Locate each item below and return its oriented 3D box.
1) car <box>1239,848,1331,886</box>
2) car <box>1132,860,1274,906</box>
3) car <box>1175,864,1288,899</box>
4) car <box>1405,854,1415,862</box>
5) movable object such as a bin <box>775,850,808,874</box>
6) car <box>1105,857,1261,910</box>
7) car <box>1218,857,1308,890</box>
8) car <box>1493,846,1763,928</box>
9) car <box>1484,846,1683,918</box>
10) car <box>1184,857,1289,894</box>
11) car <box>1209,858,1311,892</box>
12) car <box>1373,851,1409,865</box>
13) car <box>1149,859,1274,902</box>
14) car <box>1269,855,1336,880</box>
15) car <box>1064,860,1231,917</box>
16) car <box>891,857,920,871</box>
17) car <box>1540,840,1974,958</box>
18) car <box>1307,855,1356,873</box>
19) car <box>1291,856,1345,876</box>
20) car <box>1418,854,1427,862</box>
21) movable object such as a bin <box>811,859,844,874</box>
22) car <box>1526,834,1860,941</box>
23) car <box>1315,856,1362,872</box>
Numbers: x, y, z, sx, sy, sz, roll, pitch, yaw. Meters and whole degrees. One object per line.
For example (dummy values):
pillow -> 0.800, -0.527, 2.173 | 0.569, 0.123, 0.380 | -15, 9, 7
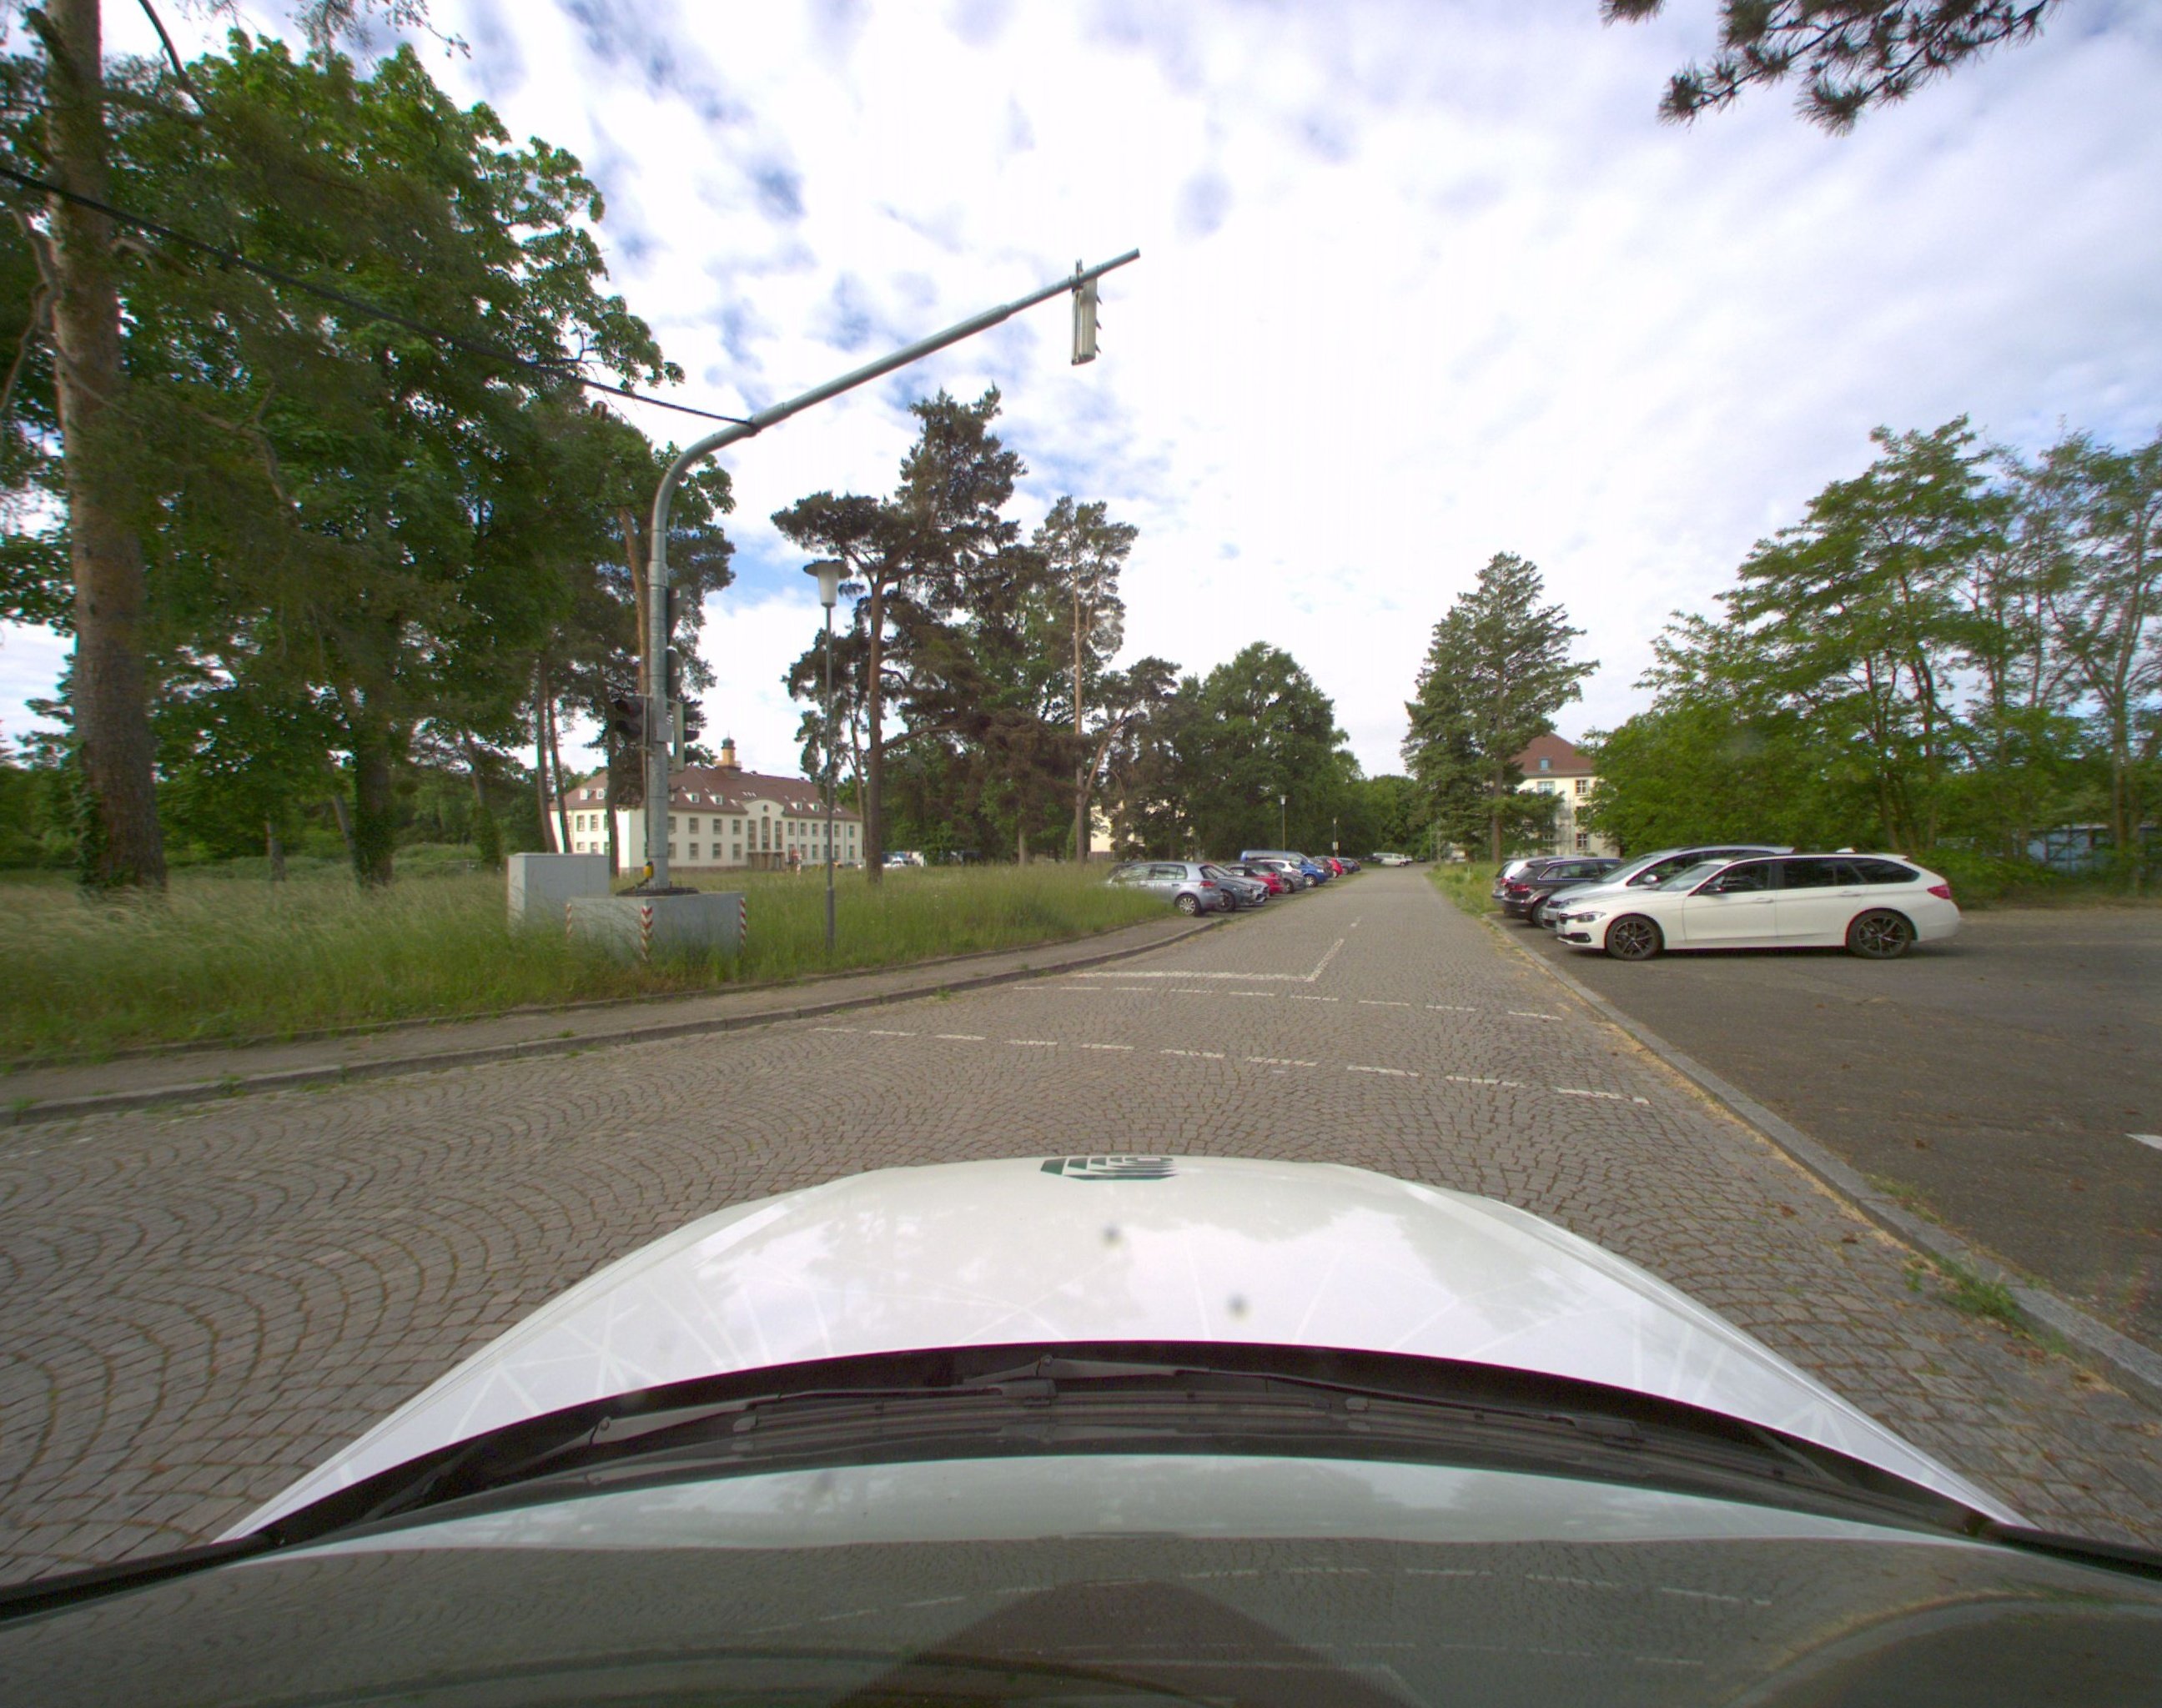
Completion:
car -> 11.215, 0.688, 44.718 | 4.669, 1.980, 2.049 | 0, 0, 21
car -> 4.137, 0.939, 27.601 | 4.398, 1.455, 1.960 | 0, -1, 22
car -> 5.919, 1.042, 31.969 | 4.095, 1.283, 1.773 | 0, 0, 22
car -> 73.279, 0.942, 181.391 | 1.775, 1.636, 4.081 | -1, -2, 21
movable object such as a bin -> -45.683, 1.291, 128.420 | 6.056, 3.642, 2.155 | -2, -3, 39
car -> 3.160, 0.872, 25.085 | 4.464, 1.537, 1.879 | 0, -1, 19
car -> 8.919, 0.928, 39.897 | 3.969, 1.501, 1.853 | 0, 0, 23
car -> 11.191, 0.685, 17.051 | 4.329, 1.406, 1.806 | -4, -1, 20
car -> 11.957, 0.660, 19.670 | 3.741, 1.480, 1.751 | -4, -1, 19
car -> 6.604, 0.903, 34.598 | 4.052, 1.480, 1.765 | 0, 0, 23
car -> 8.159, 0.938, 37.099 | 4.266, 1.480, 1.740 | 0, 0, 23
car -> 46.007, 0.569, 120.791 | 4.936, 2.073, 2.062 | 0, -2, 21
car -> 4.787, 0.943, 29.842 | 4.217, 1.455, 1.865 | 0, 0, 22
car -> 14.435, 0.887, 53.035 | 4.033, 1.575, 1.964 | 0, 0, 21
car -> 1.853, 0.909, 22.762 | 4.291, 1.470, 1.837 | 0, -1, 23
car -> -26.007, 1.504, 120.675 | 2.044, 2.095, 4.367 | -2, -2, 22
car -> 9.541, 0.678, 12.012 | 4.512, 1.425, 1.836 | -4, -2, 19
car -> 22.245, 0.862, 72.179 | 4.037, 1.604, 1.797 | 0, 0, 20
car -> 18.240, 0.924, 62.682 | 3.783, 1.489, 1.797 | 0, 0, 21
car -> 75.815, 0.863, 180.725 | 1.775, 1.720, 4.081 | -1, -2, 21
movable object such as a bin -> -39.728, 1.923, 127.636 | 4.465, 2.254, 2.394 | -1, -2, 27
car -> 10.518, 0.602, 14.412 | 4.295, 1.575, 1.835 | -4, -2, 17
car -> 24.197, 0.973, 76.483 | 4.034, 1.467, 1.635 | 0, 0, 25
